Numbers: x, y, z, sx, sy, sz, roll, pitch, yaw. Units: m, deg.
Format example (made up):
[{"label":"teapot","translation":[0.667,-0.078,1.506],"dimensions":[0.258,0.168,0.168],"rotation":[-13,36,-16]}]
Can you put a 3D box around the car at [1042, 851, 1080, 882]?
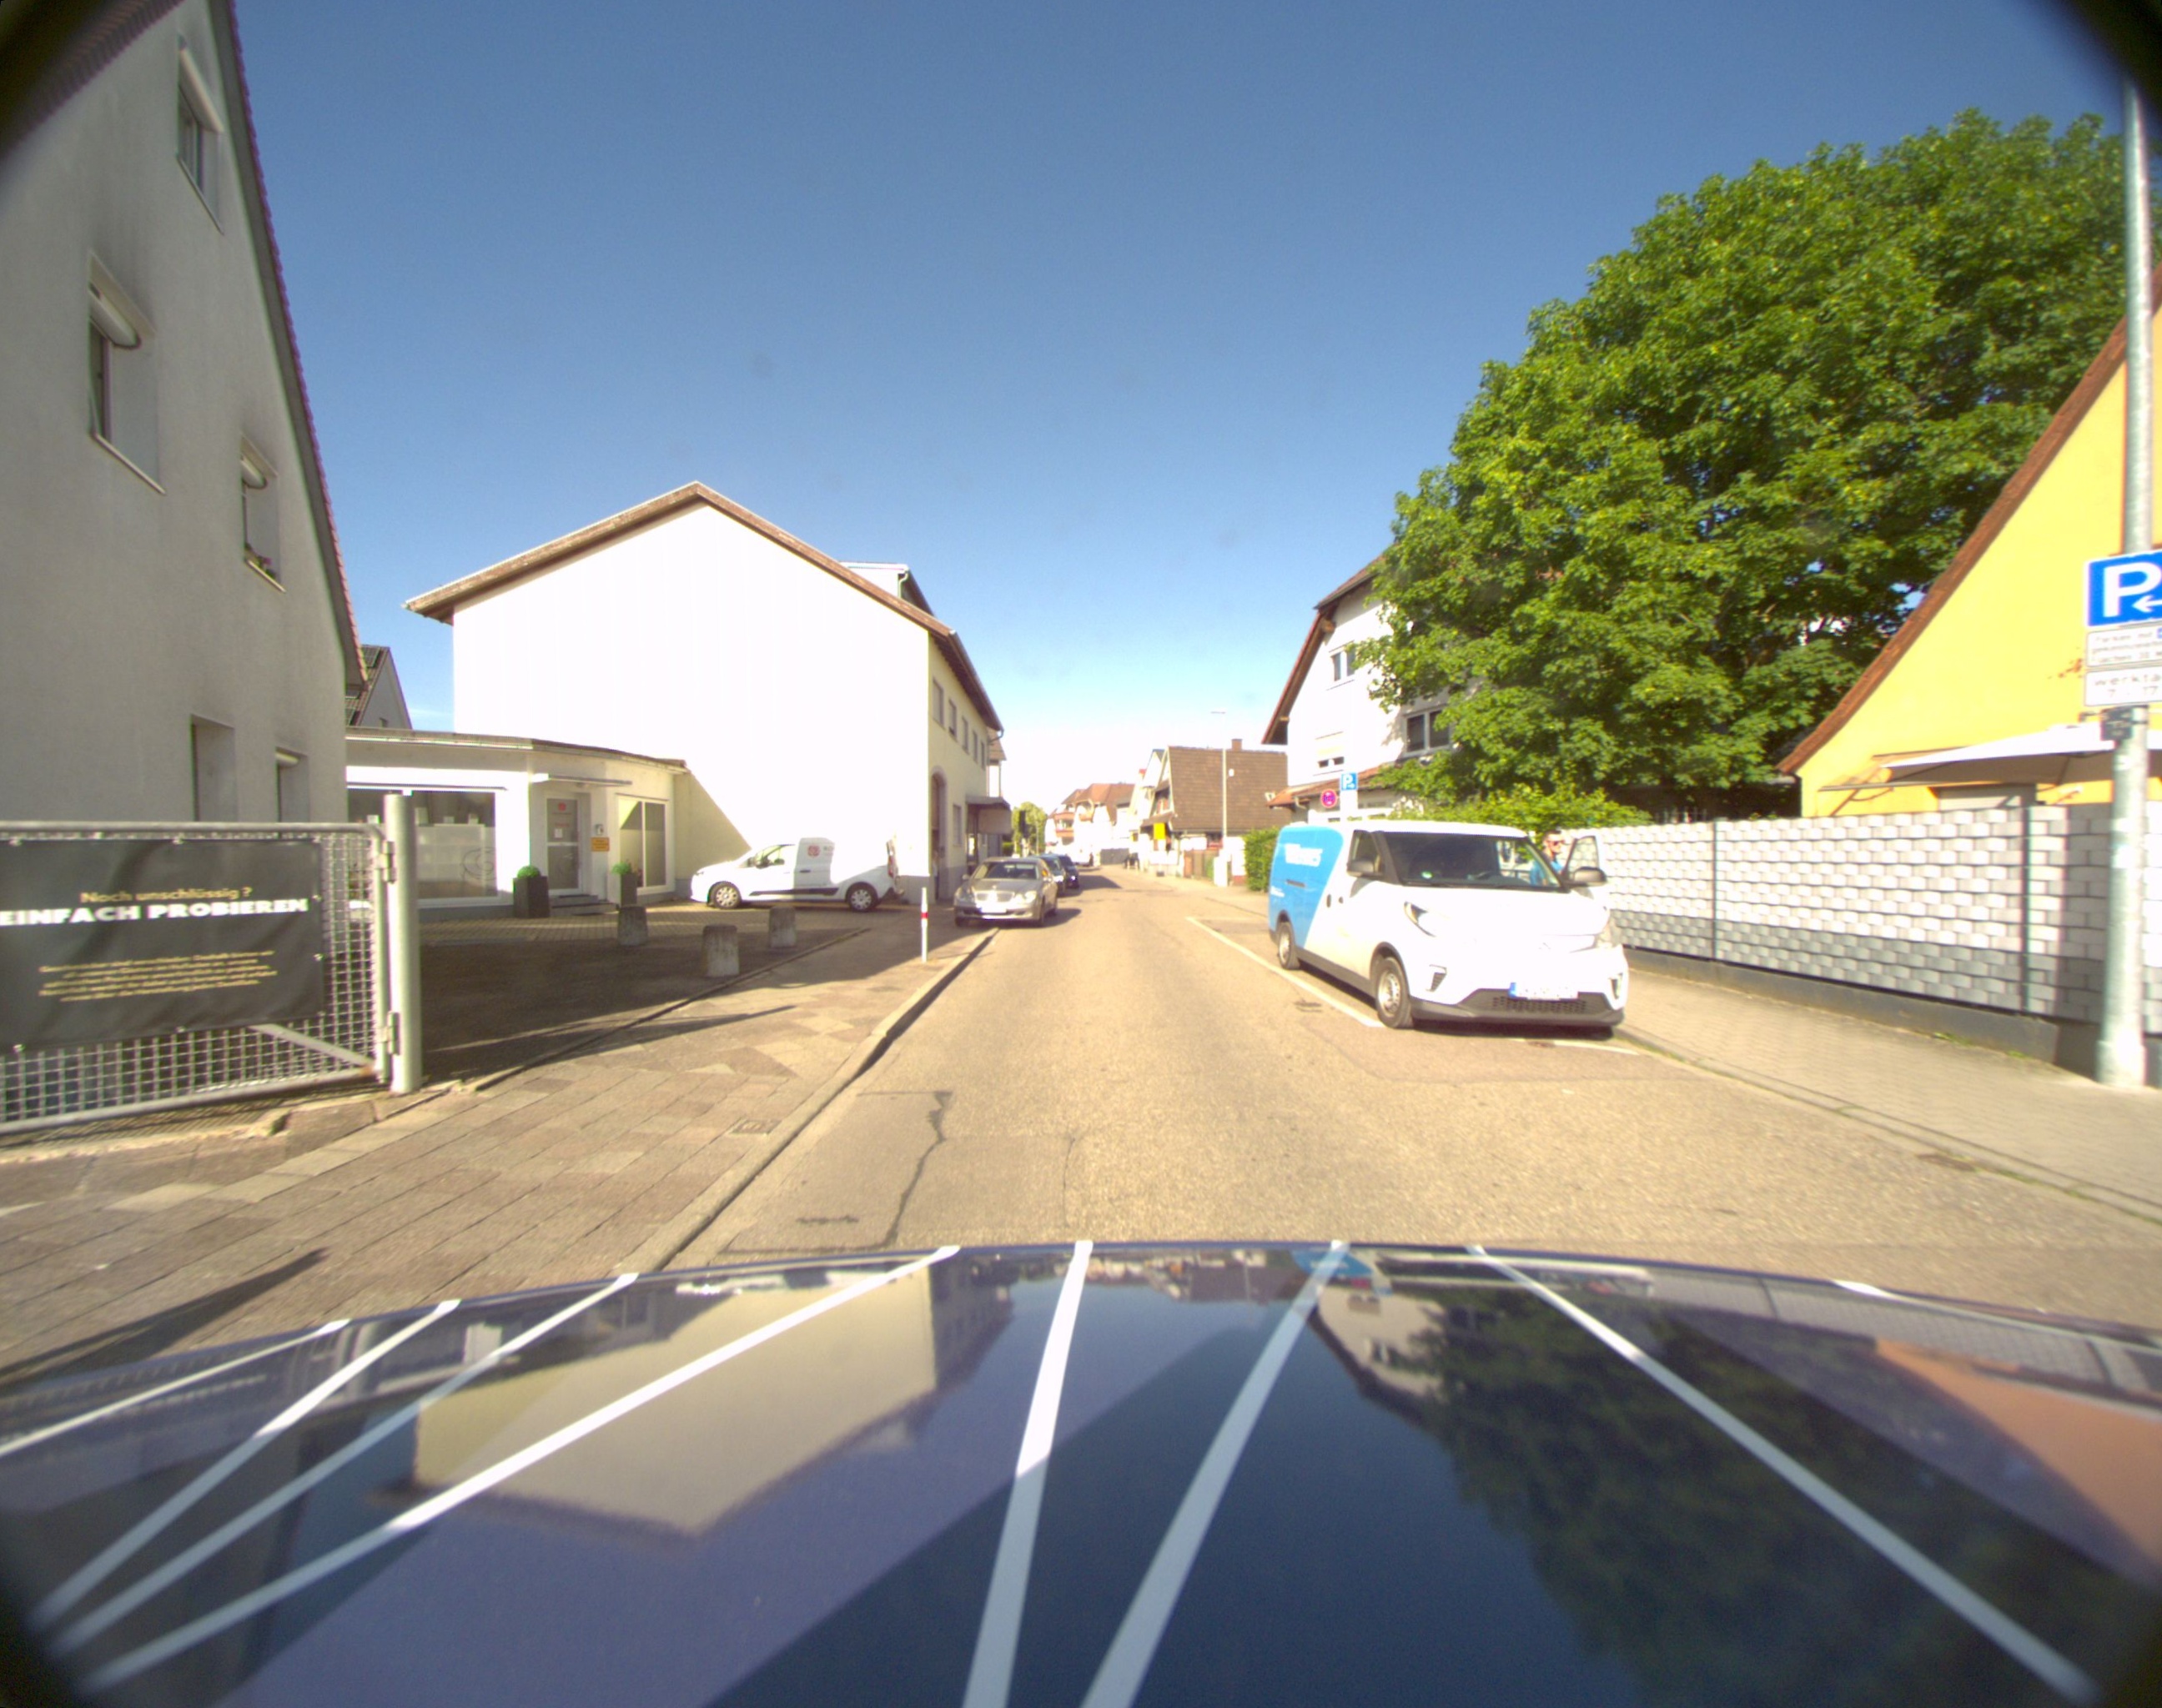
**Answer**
[{"label":"car","translation":[-1.041,0.612,39.479],"dimensions":[1.813,1.467,4.443],"rotation":[-2,0,-1]}]

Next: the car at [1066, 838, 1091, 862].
[{"label":"car","translation":[-0.308,-0.393,81.270],"dimensions":[2.259,2.456,5.513],"rotation":[0,0,-5]}]

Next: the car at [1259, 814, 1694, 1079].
[{"label":"car","translation":[3.468,0.655,8.058],"dimensions":[1.907,1.906,5.069],"rotation":[1,1,0]}]

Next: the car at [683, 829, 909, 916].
[{"label":"car","translation":[-6.736,0.440,18.458],"dimensions":[4.778,1.875,1.907],"rotation":[2,0,-8]}]

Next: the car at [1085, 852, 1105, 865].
[{"label":"car","translation":[1.703,0.502,95.043],"dimensions":[1.648,1.578,4.107],"rotation":[-1,0,-12]}]

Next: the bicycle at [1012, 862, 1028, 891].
[{"label":"bicycle","translation":[-2.537,0.940,31.798],"dimensions":[0.509,1.151,1.507],"rotation":[1,1,0]}]

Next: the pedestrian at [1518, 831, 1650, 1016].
[{"label":"pedestrian","translation":[4.951,0.658,7.517],"dimensions":[0.883,1.739,0.618],"rotation":[-1,1,0]}]

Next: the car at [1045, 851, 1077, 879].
[{"label":"car","translation":[-1.136,0.602,43.885],"dimensions":[1.730,1.467,3.874],"rotation":[-2,0,-1]}]

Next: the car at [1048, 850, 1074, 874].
[{"label":"car","translation":[-1.320,0.500,50.253],"dimensions":[1.614,1.512,3.970],"rotation":[-2,0,-2]}]

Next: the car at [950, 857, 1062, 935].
[{"label":"car","translation":[-1.536,0.833,17.193],"dimensions":[1.815,1.467,4.660],"rotation":[0,0,3]}]

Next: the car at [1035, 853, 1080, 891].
[{"label":"car","translation":[-1.015,0.737,33.476],"dimensions":[1.813,1.467,4.843],"rotation":[-2,0,-1]}]

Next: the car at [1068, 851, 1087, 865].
[{"label":"car","translation":[-0.456,0.483,90.625],"dimensions":[1.728,1.609,4.108],"rotation":[0,0,-9]}]

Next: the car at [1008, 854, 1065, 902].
[{"label":"car","translation":[-1.487,0.778,26.877],"dimensions":[1.813,1.467,4.843],"rotation":[-2,0,-1]}]

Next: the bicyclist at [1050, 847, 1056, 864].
[{"label":"bicyclist","translation":[-2.748,0.116,74.504],"dimensions":[0.643,1.655,0.604],"rotation":[0,1,-4]}]

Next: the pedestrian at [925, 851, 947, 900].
[{"label":"pedestrian","translation":[-4.640,0.676,24.332],"dimensions":[0.566,1.543,0.770],"rotation":[-1,1,-5]}]

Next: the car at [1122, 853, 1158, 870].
[{"label":"car","translation":[5.269,0.613,68.135],"dimensions":[1.695,1.437,4.169],"rotation":[-2,1,-19]}]
